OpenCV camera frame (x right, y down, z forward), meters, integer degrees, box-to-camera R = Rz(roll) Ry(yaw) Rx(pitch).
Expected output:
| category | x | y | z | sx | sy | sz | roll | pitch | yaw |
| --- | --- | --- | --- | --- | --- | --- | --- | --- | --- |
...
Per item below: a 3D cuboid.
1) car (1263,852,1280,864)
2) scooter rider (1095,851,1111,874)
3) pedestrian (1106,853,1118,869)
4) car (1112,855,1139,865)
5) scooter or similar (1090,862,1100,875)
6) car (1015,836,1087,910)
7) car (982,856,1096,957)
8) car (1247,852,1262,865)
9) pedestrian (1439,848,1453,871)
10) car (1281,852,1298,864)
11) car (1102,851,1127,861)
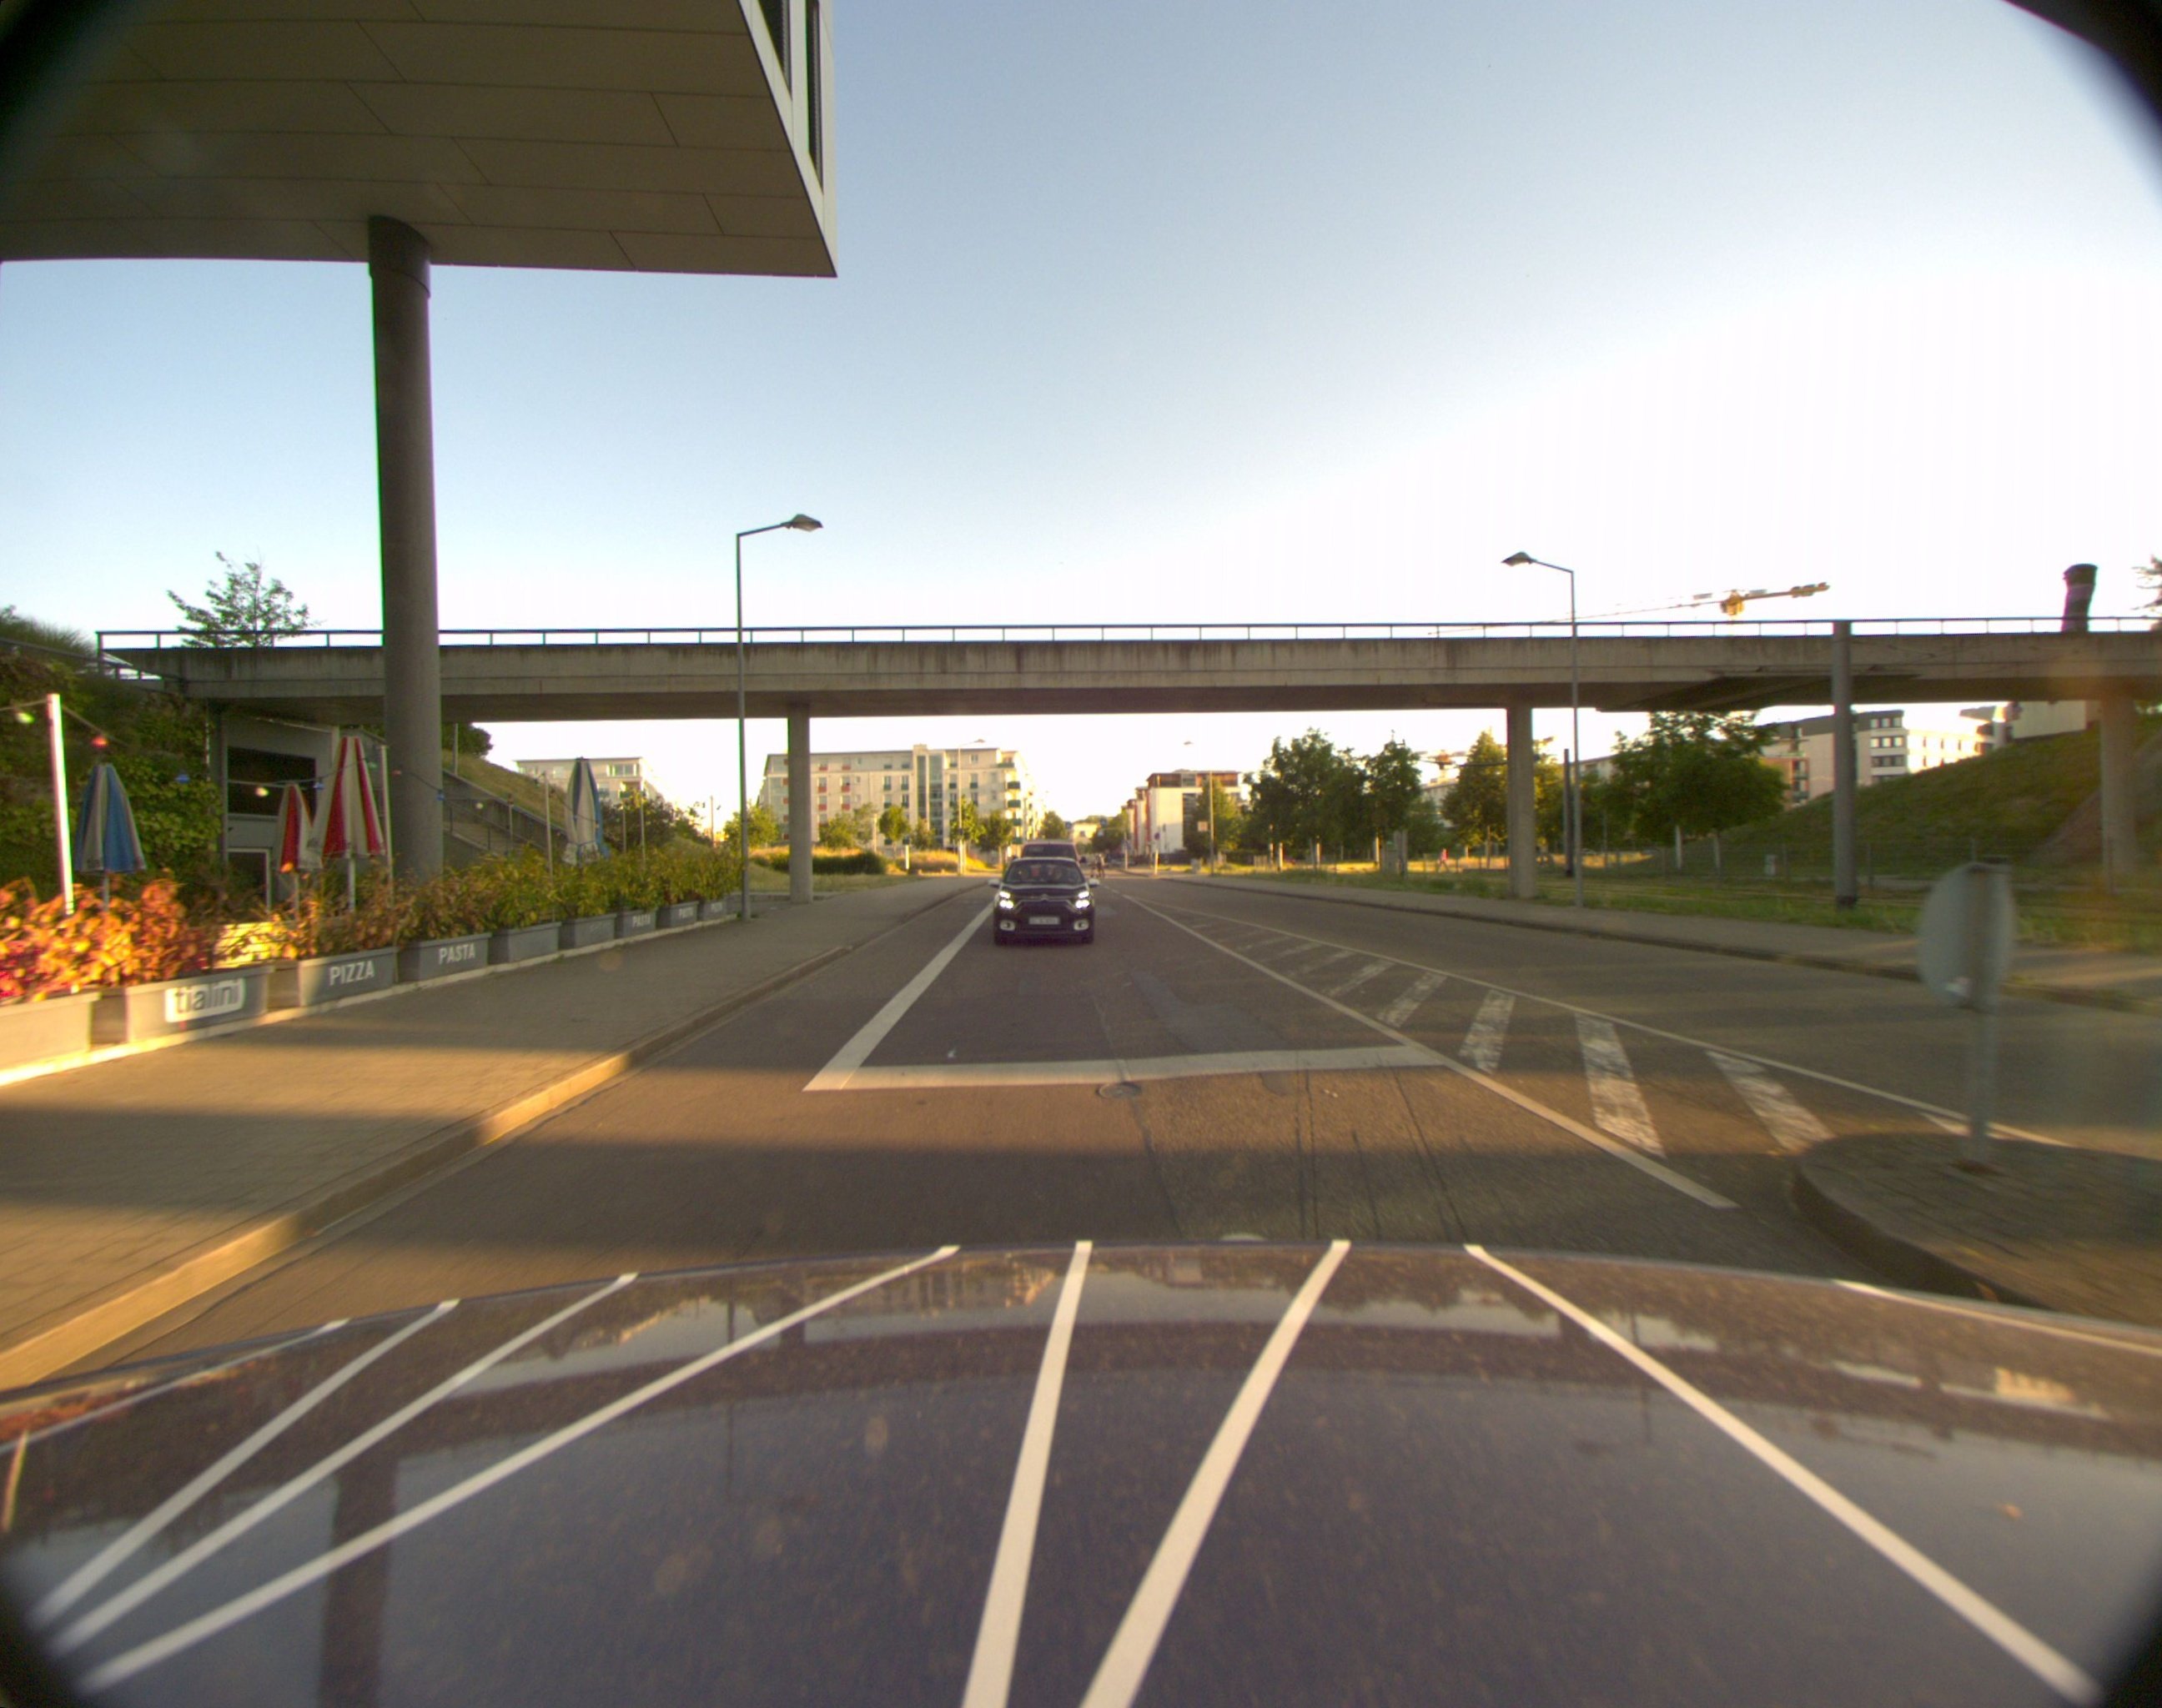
| category | x | y | z | sx | sy | sz | roll | pitch | yaw |
| --- | --- | --- | --- | --- | --- | --- | --- | --- | --- |
| car | 27.435 | 0.586 | 109.462 | 1.870 | 1.710 | 3.847 | -1 | 0 | 7 |
| scooter rider | 1.546 | 0.610 | 52.490 | 0.897 | 1.568 | 0.712 | -1 | 0 | 18 |
| pedestrian | 3.801 | 0.850 | 93.118 | 1.088 | 2.002 | 1.141 | -1 | 1 | 27 |
| car | 7.315 | 0.977 | 125.913 | 4.388 | 1.550 | 1.839 | -1 | 1 | 0 |
| scooter or similar | 0.973 | 0.982 | 52.689 | 0.552 | 0.890 | 0.723 | 0 | 1 | 17 |
| car | -0.944 | 0.544 | 23.666 | 1.931 | 1.979 | 4.821 | -2 | 0 | -3 |
| car | -0.621 | 0.824 | 13.923 | 1.759 | 1.543 | 4.072 | -1 | 0 | 1 |
| car | 25.021 | 0.650 | 109.751 | 1.869 | 1.710 | 3.848 | -1 | 0 | 10 |
| pedestrian | 25.620 | 0.371 | 53.371 | 0.779 | 1.602 | 0.417 | -1 | 0 | 10 |
| car | 29.955 | 0.525 | 109.276 | 1.869 | 1.710 | 3.848 | -1 | 0 | 10 |
| car | 6.867 | 0.403 | 156.084 | 4.746 | 2.002 | 1.999 | -1 | 1 | -4 |
